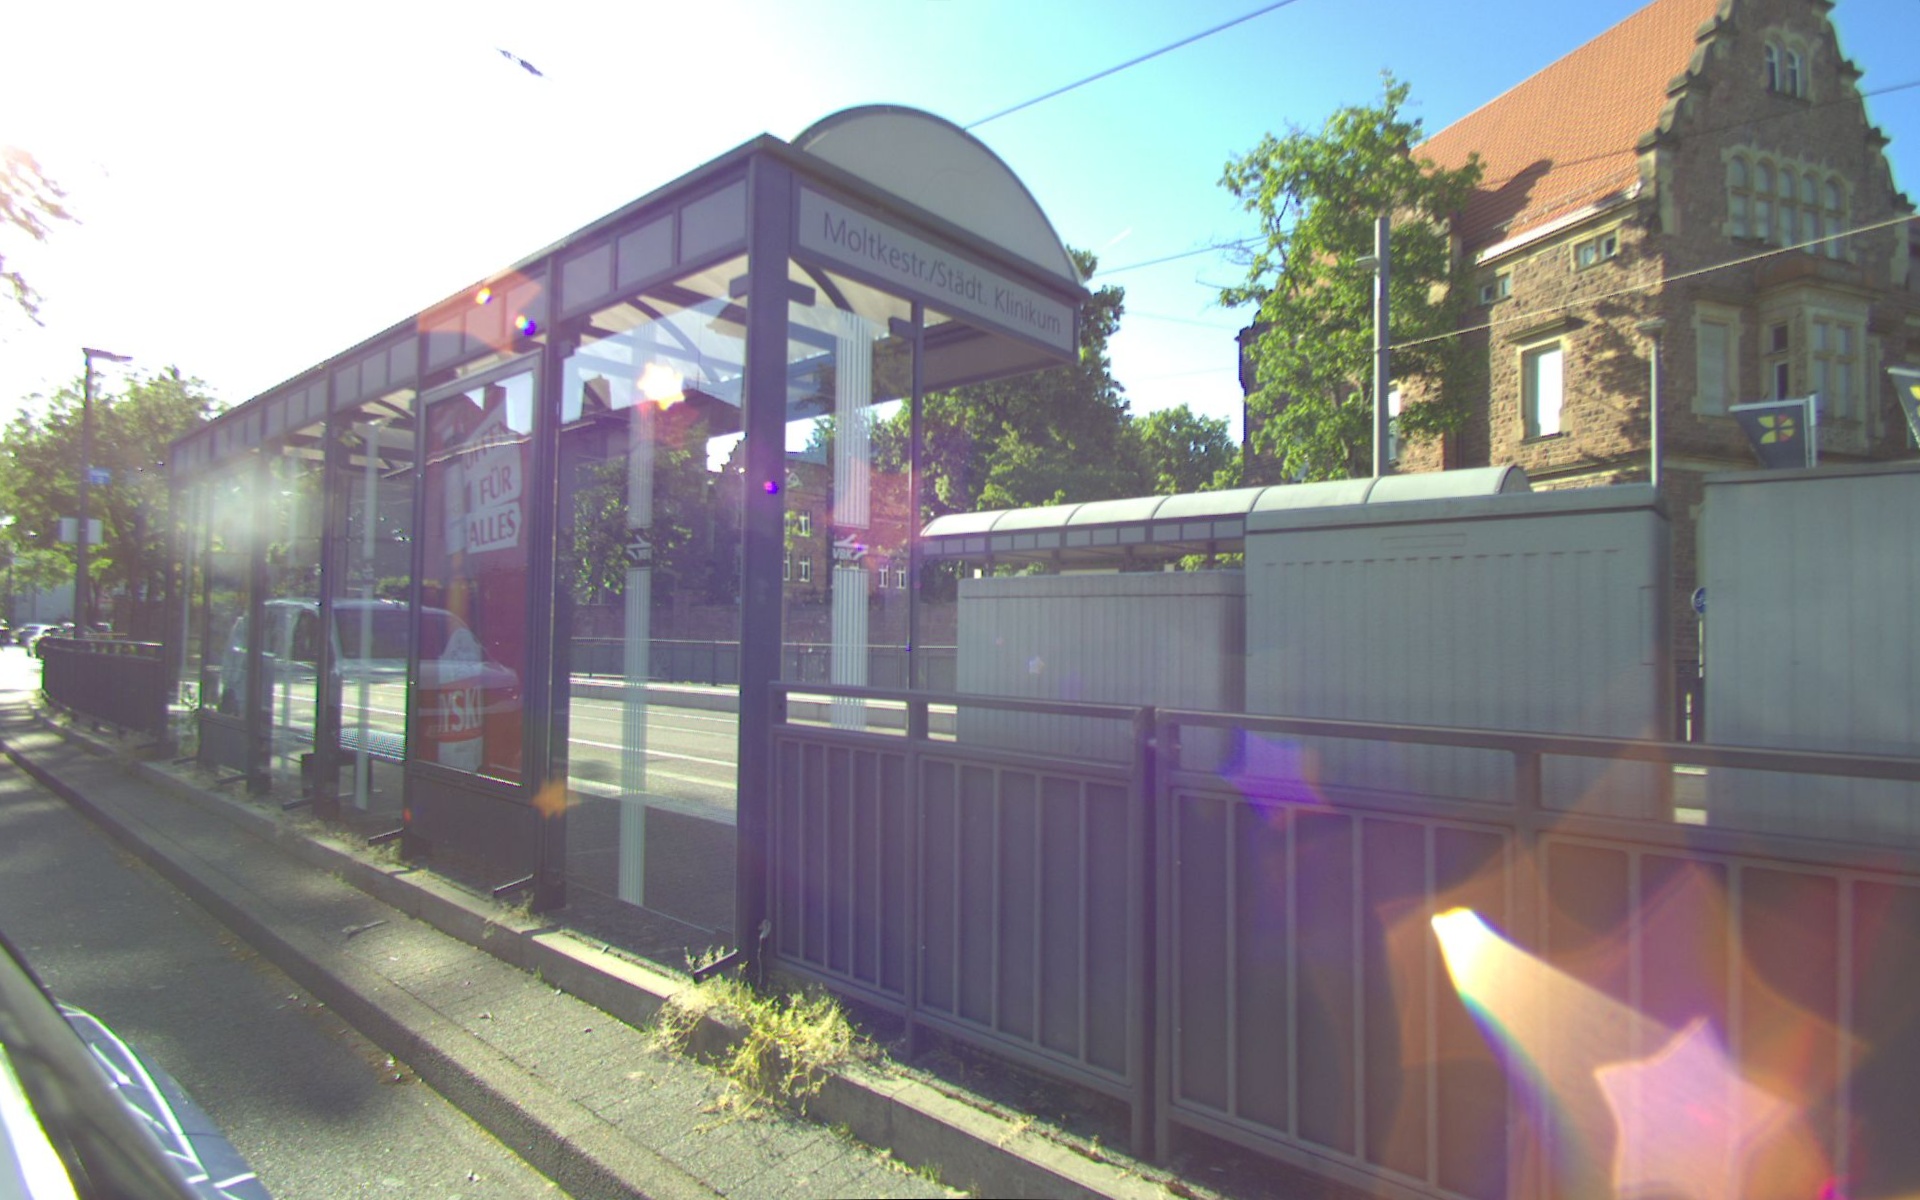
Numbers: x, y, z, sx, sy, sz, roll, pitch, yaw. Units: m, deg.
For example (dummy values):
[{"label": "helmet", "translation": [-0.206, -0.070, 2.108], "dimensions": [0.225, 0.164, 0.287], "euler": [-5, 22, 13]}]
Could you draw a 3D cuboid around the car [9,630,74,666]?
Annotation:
[{"label": "car", "translation": [-41.261, 2.158, 45.452], "dimensions": [3.982, 1.414, 1.835], "euler": [-6, -6, 43]}]

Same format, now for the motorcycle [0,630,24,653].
[{"label": "motorcycle", "translation": [-52.307, 2.273, 55.647], "dimensions": [2.574, 1.253, 1.117], "euler": [-1, -2, 44]}]

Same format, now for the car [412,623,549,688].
[{"label": "car", "translation": [-13.606, 1.516, 28.627], "dimensions": [4.355, 1.690, 1.887], "euler": [-1, -3, 41]}]

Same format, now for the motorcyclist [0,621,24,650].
[{"label": "motorcyclist", "translation": [-52.361, 1.950, 55.714], "dimensions": [1.055, 1.537, 1.112], "euler": [-1, -2, 44]}]
